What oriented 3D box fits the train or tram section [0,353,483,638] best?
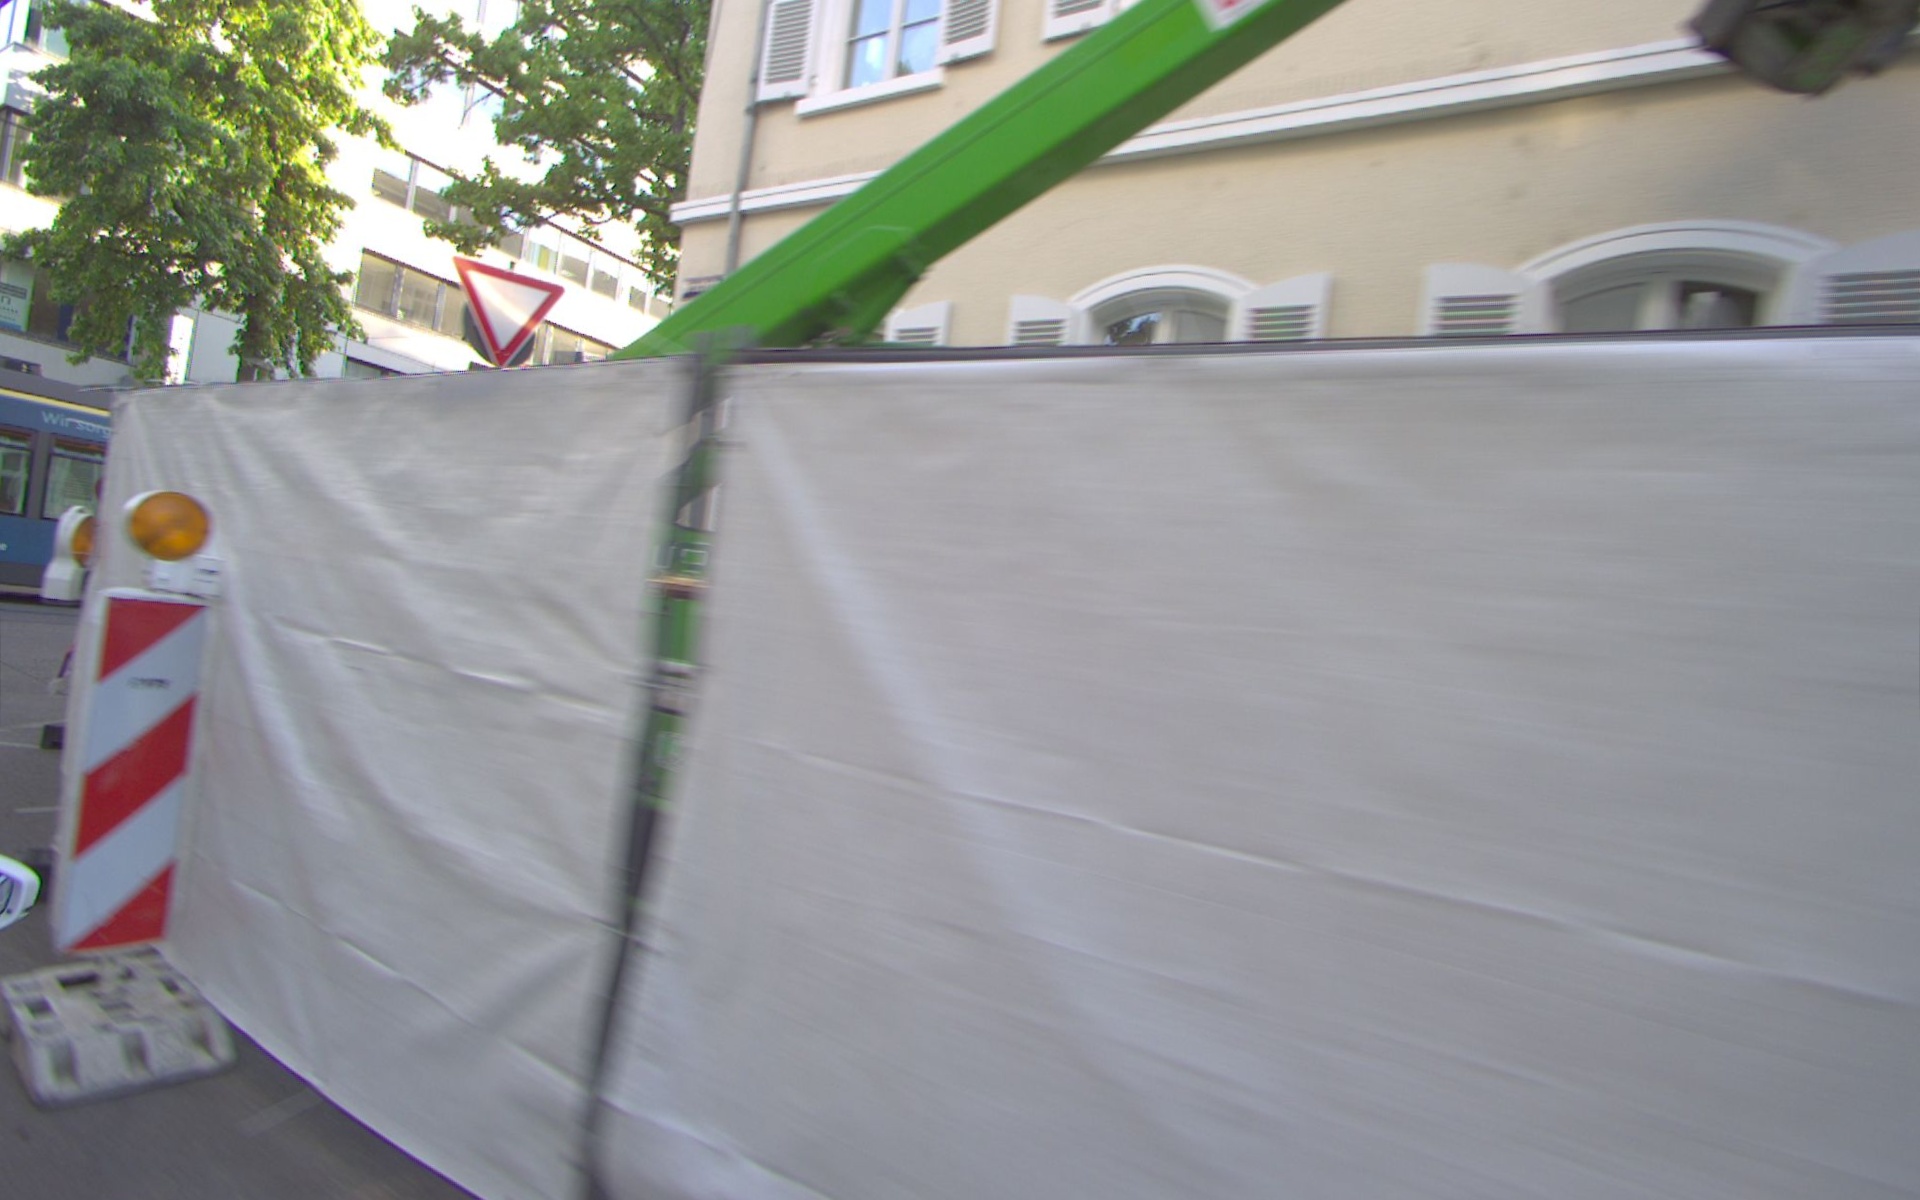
[{"bbox_3d":[-13.796,-1.633,16.720,2.977,3.564,10.354,7,-2,32],"label":"train or tram section"}]

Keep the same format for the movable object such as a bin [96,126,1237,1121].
[{"bbox_3d":[-1.740,-0.111,5.452,5.471,2.907,2.640,7,0,31],"label":"movable object such as a bin"}]
